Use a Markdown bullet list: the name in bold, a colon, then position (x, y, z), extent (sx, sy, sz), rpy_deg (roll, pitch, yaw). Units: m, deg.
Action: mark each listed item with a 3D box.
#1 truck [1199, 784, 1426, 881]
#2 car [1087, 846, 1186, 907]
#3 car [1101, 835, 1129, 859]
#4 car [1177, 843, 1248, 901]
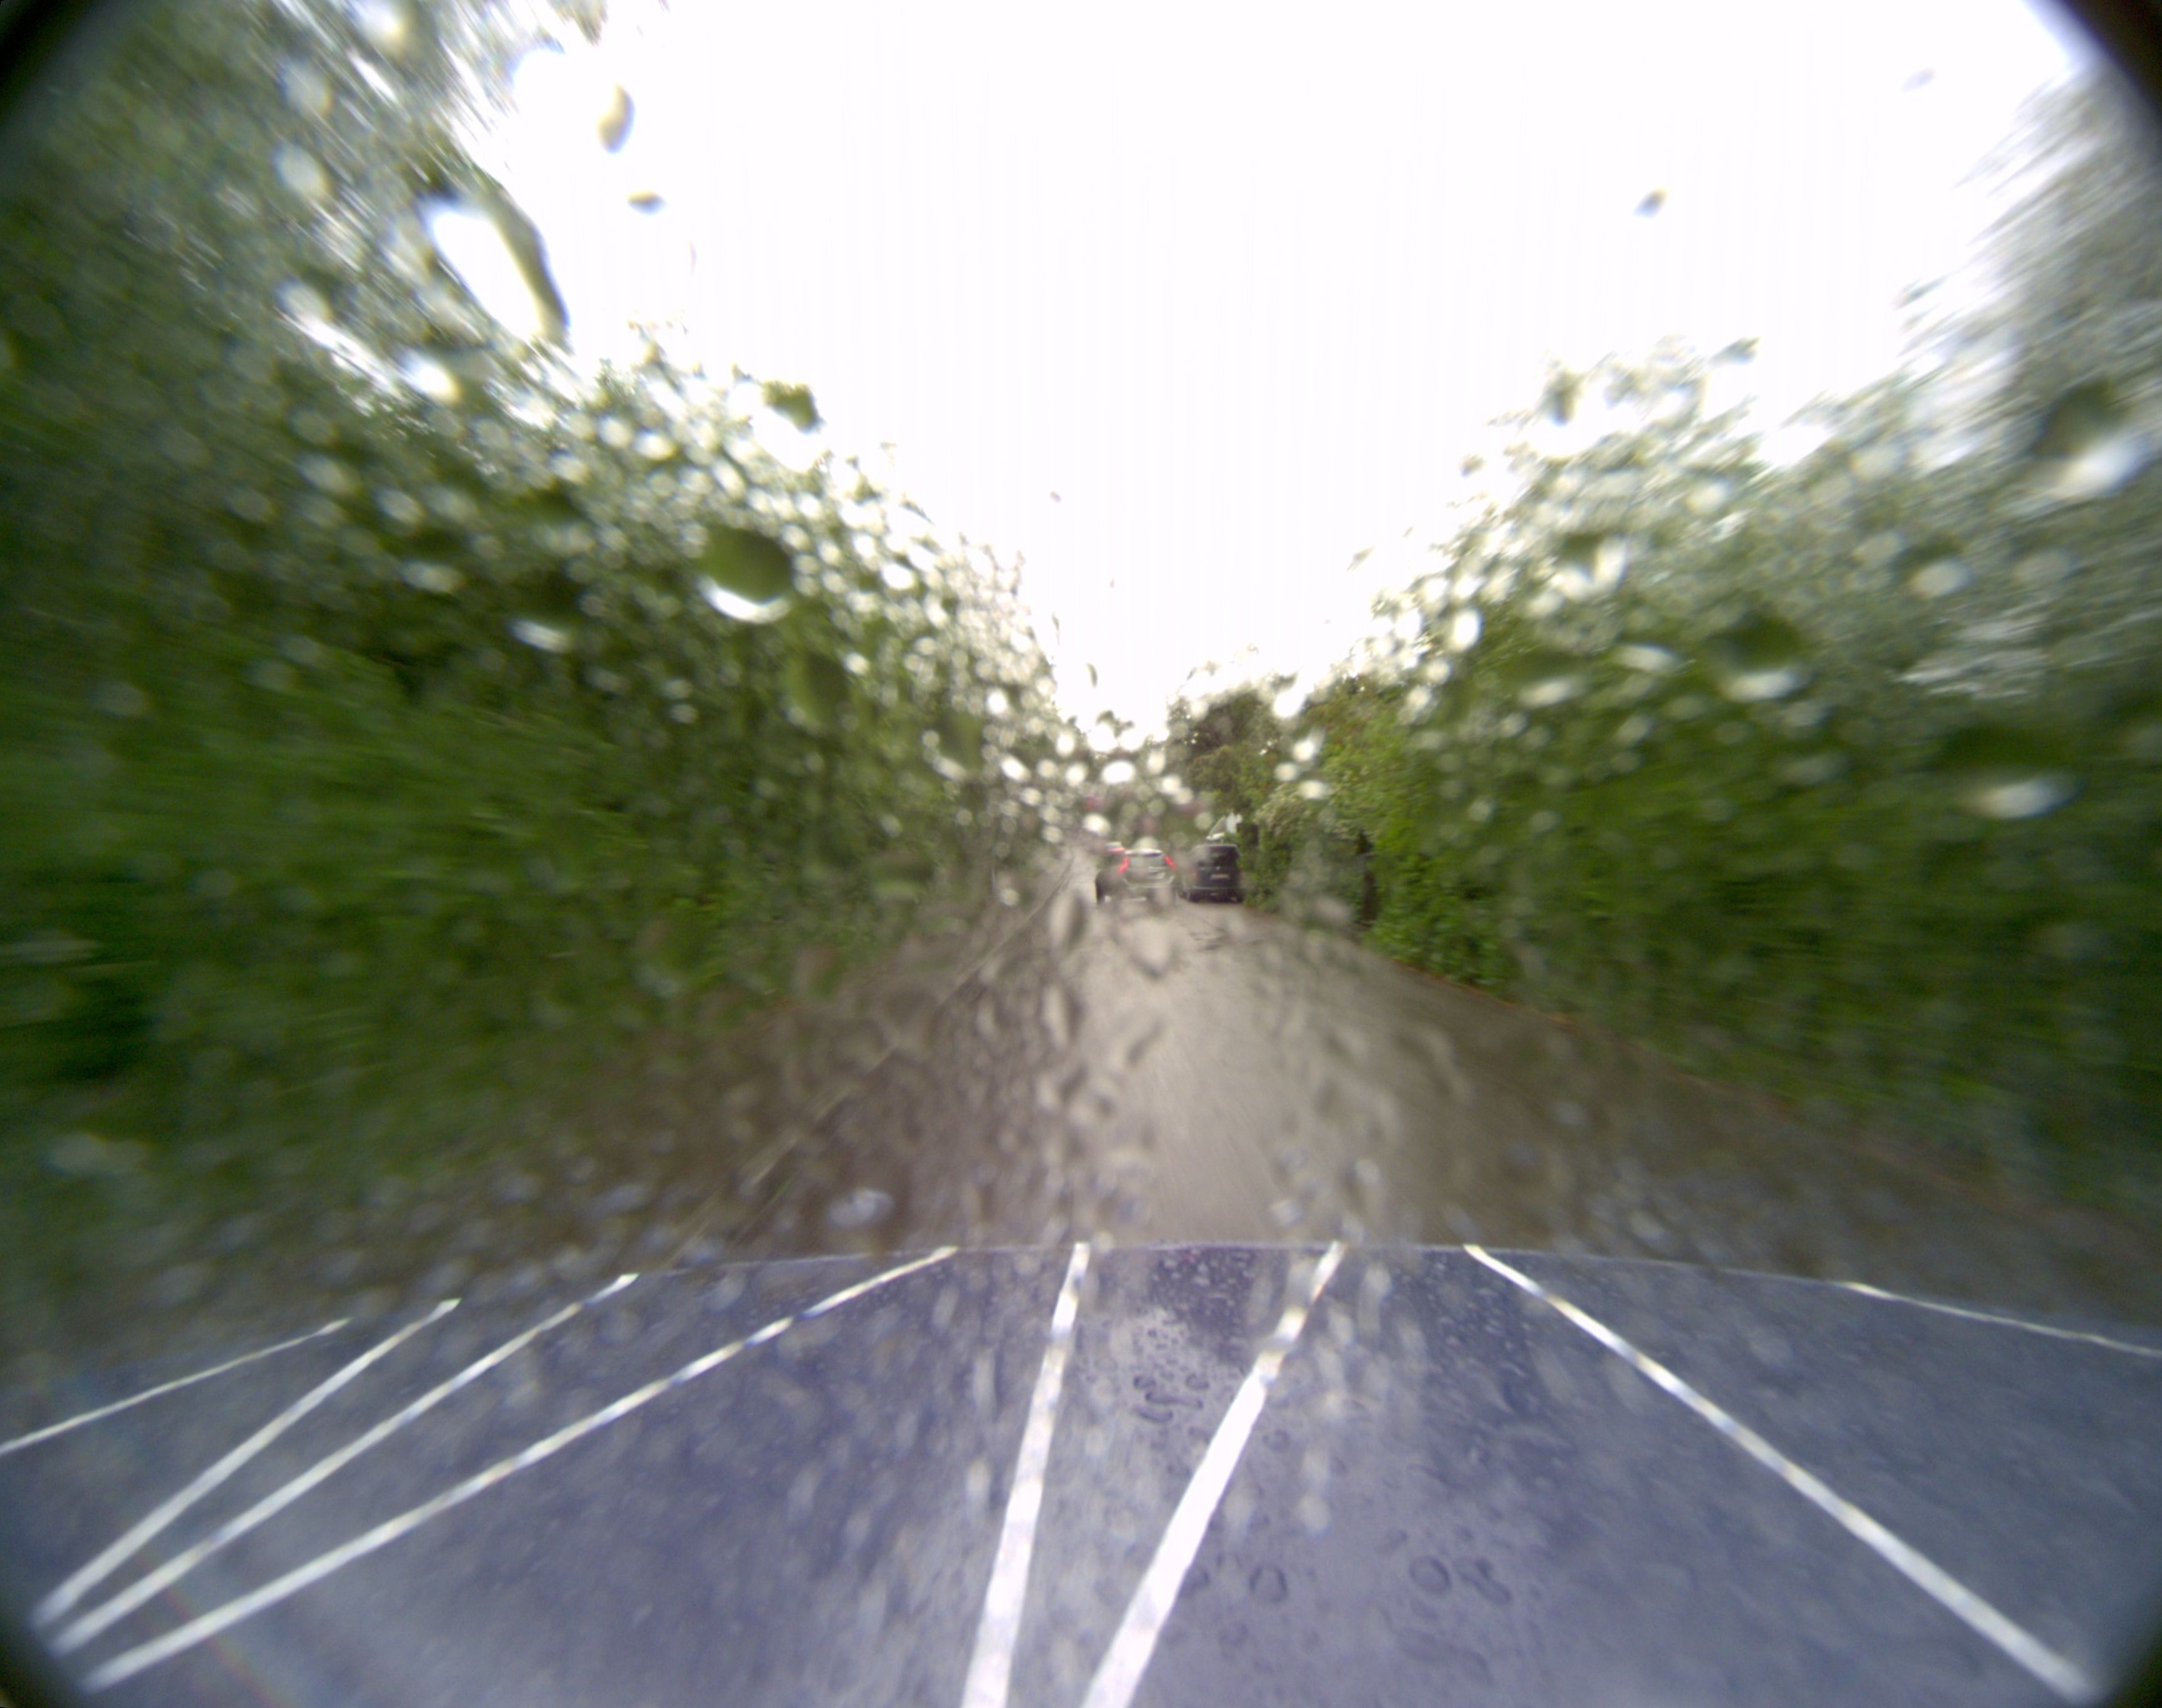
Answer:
- **truck**: position (9.766, -0.761, 33.227), extent (2.773, 3.694, 9.227), rpy_deg (-3, 1, -43)
- **car**: position (1.584, 0.651, 23.423), extent (1.929, 1.611, 4.458), rpy_deg (-2, 0, -11)
- **car**: position (2.523, -0.560, 56.859), extent (1.960, 1.609, 4.678), rpy_deg (-2, 2, 2)
- **car**: position (4.228, 0.535, 25.012), extent (1.690, 1.717, 4.068), rpy_deg (1, 0, 1)
